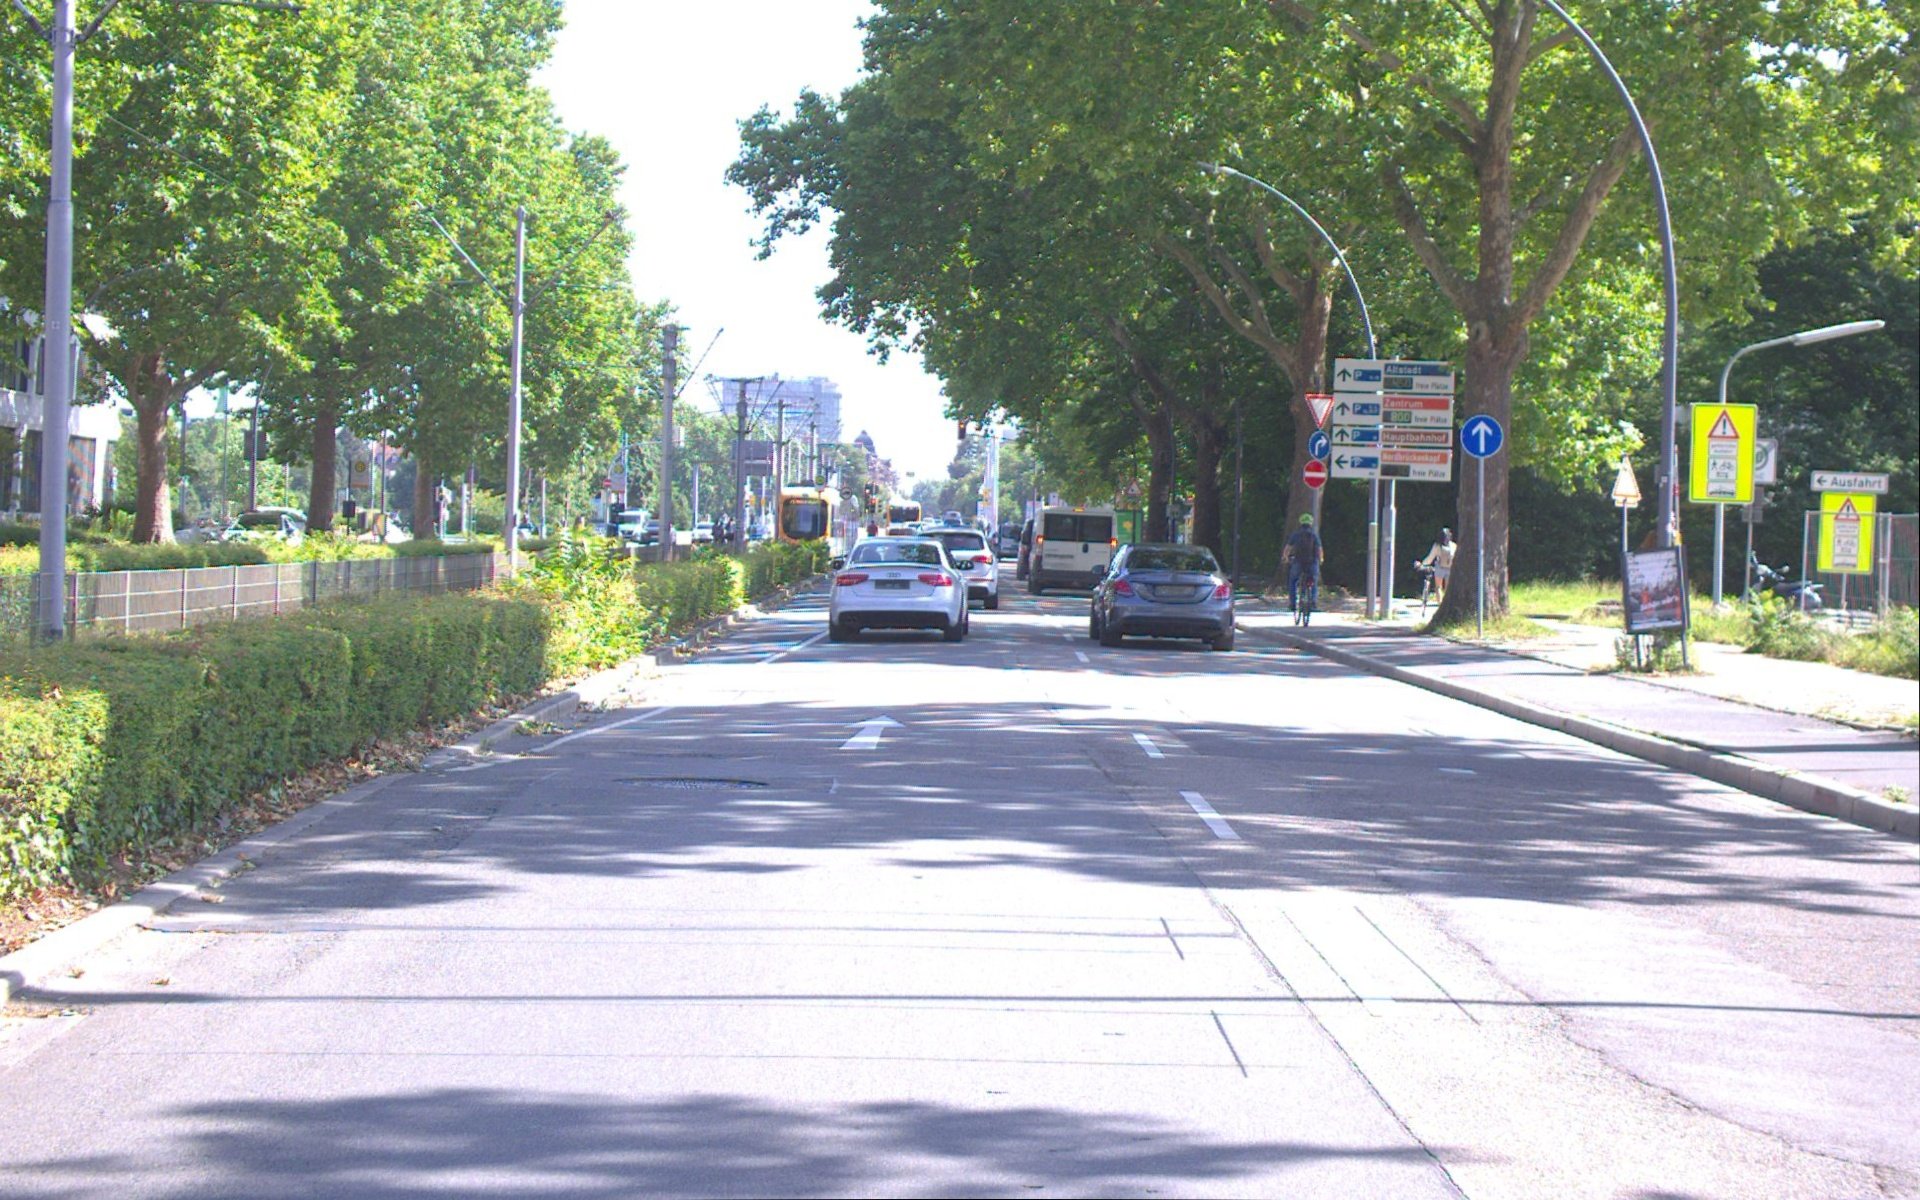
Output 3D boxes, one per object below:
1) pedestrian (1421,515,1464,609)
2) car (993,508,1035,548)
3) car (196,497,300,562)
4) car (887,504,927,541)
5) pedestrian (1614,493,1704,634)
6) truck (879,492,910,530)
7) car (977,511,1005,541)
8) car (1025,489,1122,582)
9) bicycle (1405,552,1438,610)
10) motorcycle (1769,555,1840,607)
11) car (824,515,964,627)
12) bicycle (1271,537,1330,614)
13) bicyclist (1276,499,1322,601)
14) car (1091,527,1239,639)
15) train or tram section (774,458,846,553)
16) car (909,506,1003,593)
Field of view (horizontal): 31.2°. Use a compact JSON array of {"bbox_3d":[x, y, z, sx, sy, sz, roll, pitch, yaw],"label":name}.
[{"bbox_3d":[9.252,-0.734,65.925,0.632,1.779,0.874,2,1,0],"label":"pedestrian"},{"bbox_3d":[2.795,-3.774,179.309,2.072,1.992,4.058,2,1,0],"label":"car"},{"bbox_3d":[-18.187,-1.815,87.947,1.756,1.564,4.019,2,1,0],"label":"car"},{"bbox_3d":[-2.459,-3.619,160.567,1.729,1.625,4.000,2,1,0],"label":"car"},{"bbox_3d":[9.587,-0.507,47.185,0.939,1.886,1.151,2,1,0],"label":"pedestrian"},{"bbox_3d":[-4.968,-6.750,261.221,1.993,2.780,8.519,2,1,1],"label":"truck"},{"bbox_3d":[1.990,-4.752,221.066,1.729,1.895,4.000,2,1,0],"label":"car"},{"bbox_3d":[2.823,-1.620,86.406,2.230,2.204,4.162,2,1,0],"label":"car"},{"bbox_3d":[8.824,-0.370,65.776,0.349,1.078,1.699,2,1,0],"label":"bicycle"},{"bbox_3d":[16.649,-0.374,67.786,1.219,0.964,0.471,2,1,-6],"label":"motorcycle"},{"bbox_3d":[-0.870,-0.429,47.228,1.784,1.416,3.885,2,1,0],"label":"car"},{"bbox_3d":[5.573,-0.415,56.376,0.714,1.144,2.179,-1,3,-1],"label":"bicycle"},{"bbox_3d":[5.558,-0.828,56.407,0.634,1.642,0.979,-1,3,-1],"label":"bicyclist"},{"bbox_3d":[2.803,-0.263,47.683,1.782,1.415,4.000,2,1,0],"label":"car"},{"bbox_3d":[-6.615,-4.181,152.364,2.617,4.001,7.749,2,1,1],"label":"train or tram section"},{"bbox_3d":[-0.064,-1.005,67.344,1.729,1.599,3.885,2,1,0],"label":"car"}]
